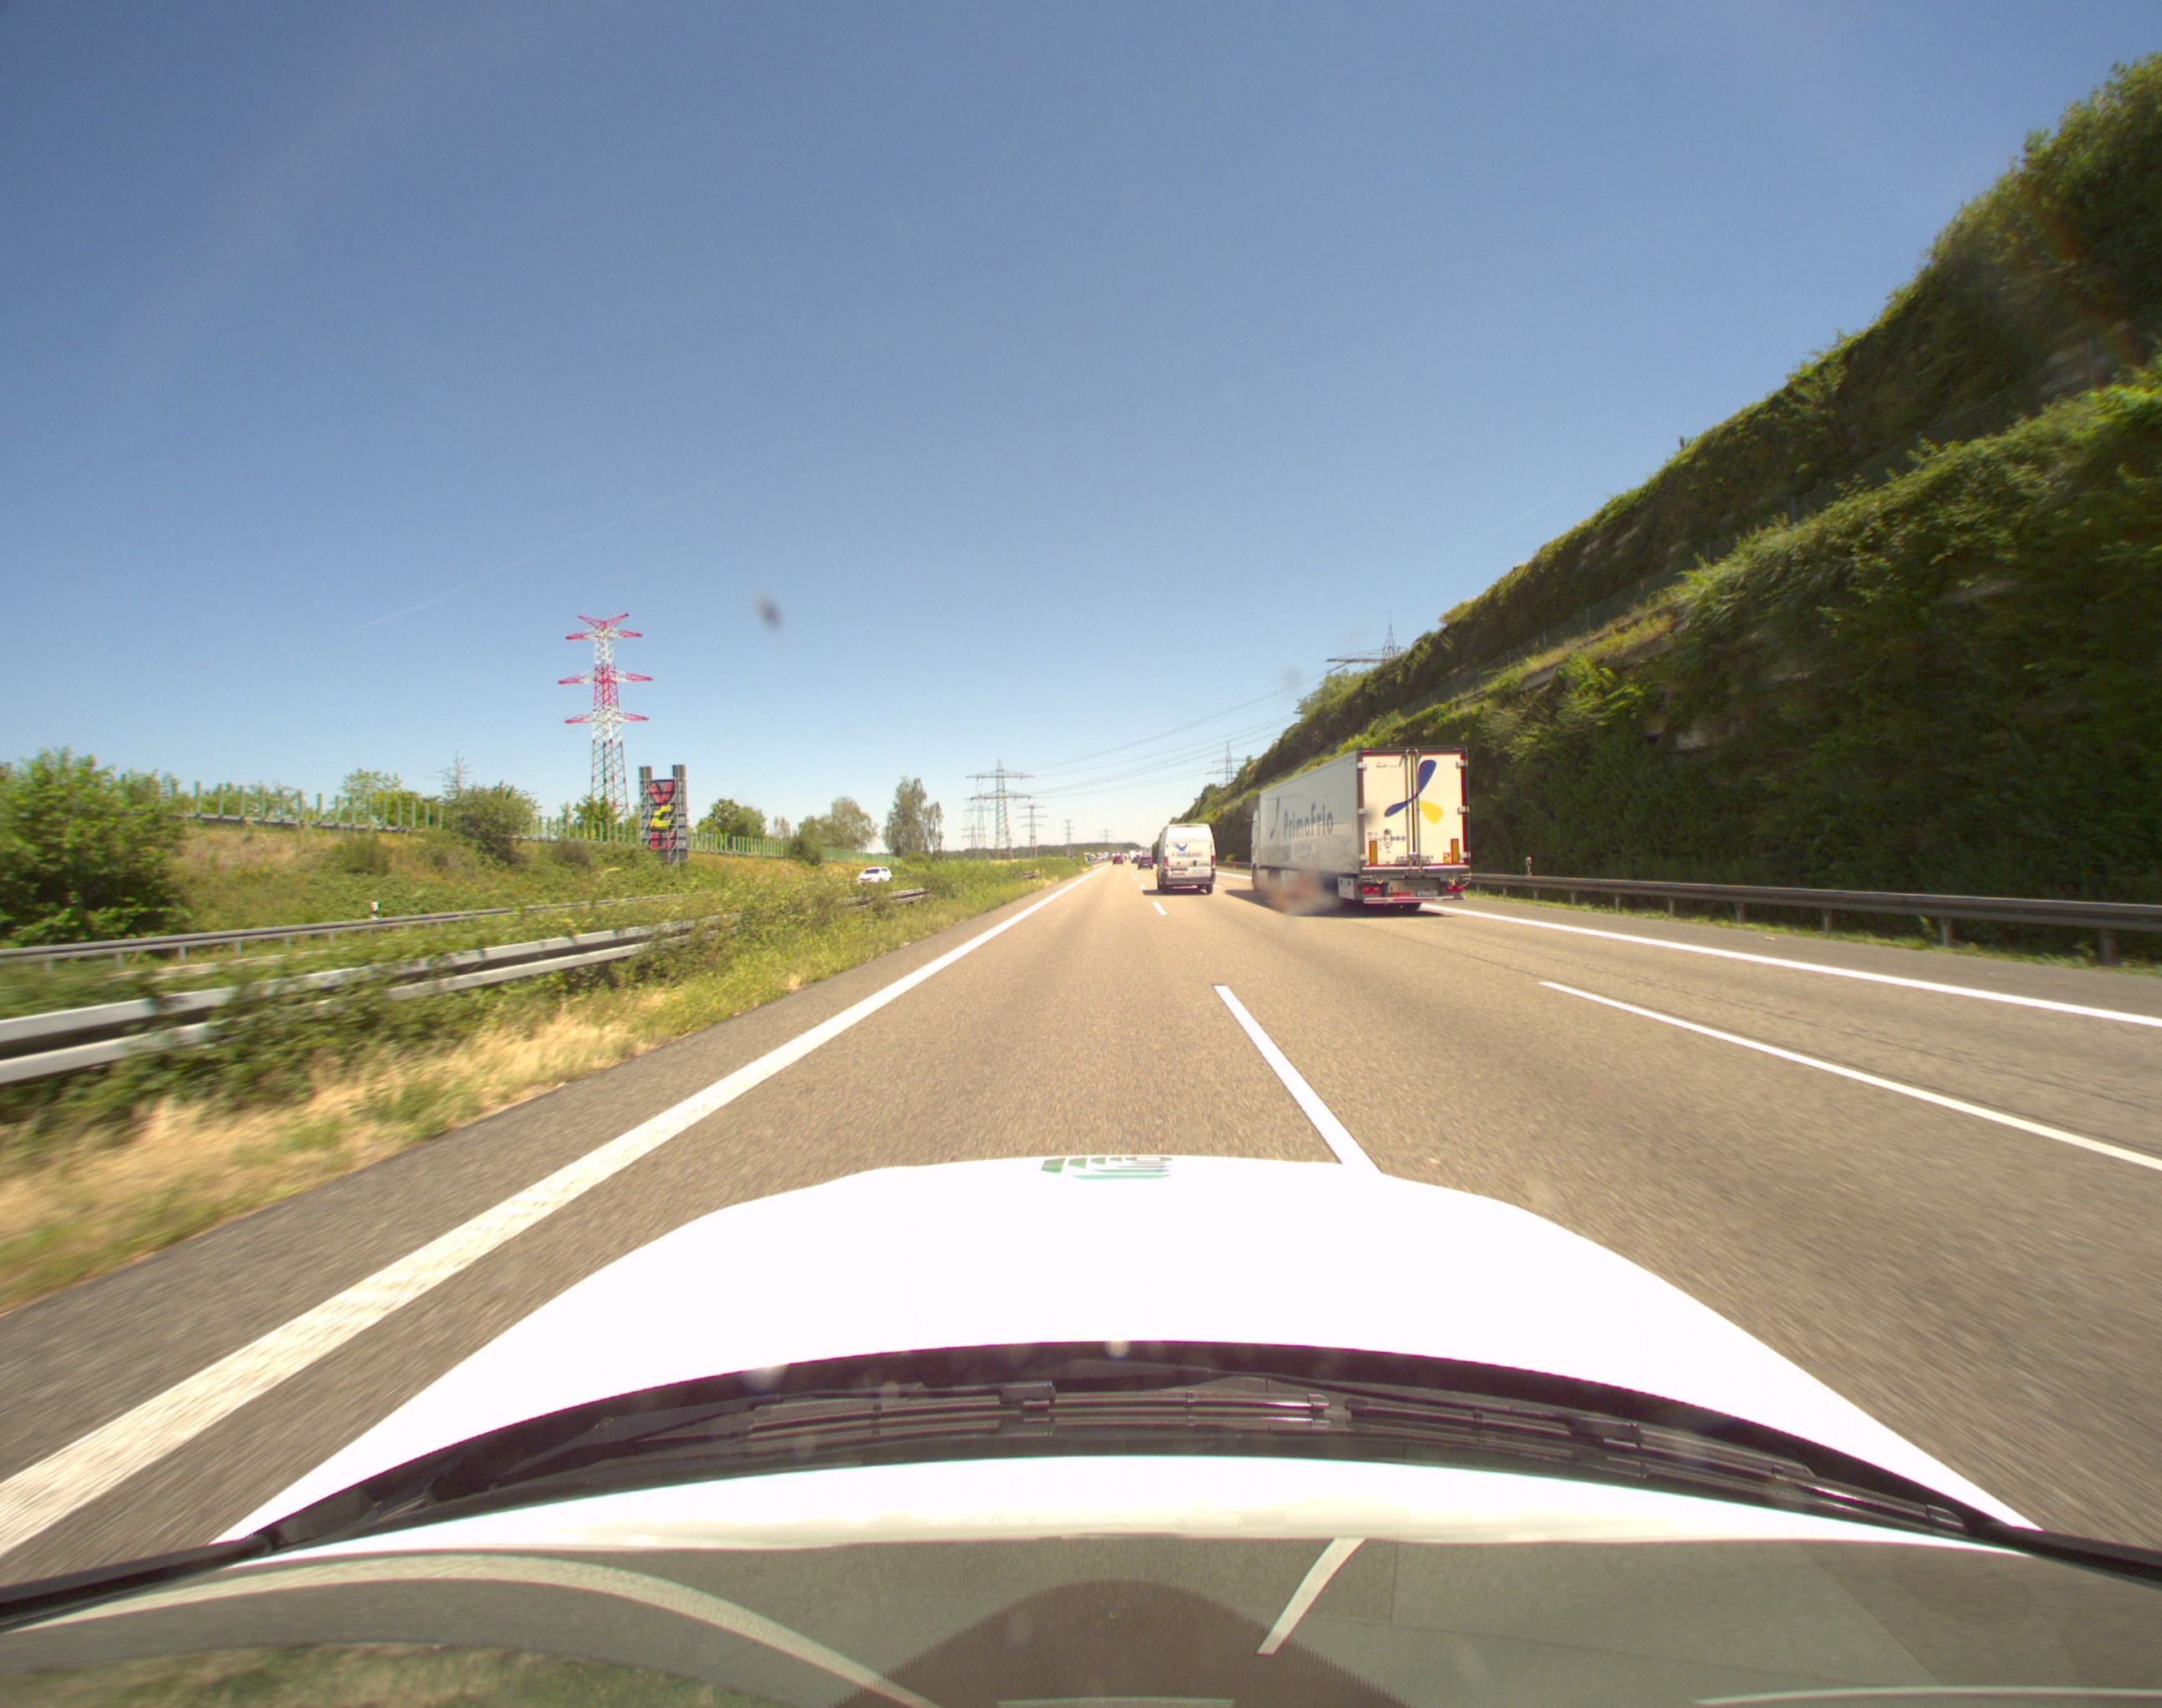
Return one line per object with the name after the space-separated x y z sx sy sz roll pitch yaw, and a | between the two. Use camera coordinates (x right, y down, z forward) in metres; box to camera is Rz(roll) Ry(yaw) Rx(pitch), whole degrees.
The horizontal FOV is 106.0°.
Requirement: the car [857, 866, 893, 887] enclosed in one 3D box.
-17.194 1.853 68.103 1.757 1.596 4.153 -3 0 2 | car

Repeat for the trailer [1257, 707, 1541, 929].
7.929 -0.678 24.148 2.504 4.212 17.039 -1 0 3 | trailer

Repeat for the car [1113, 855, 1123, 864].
7.300 1.025 159.327 1.822 1.670 4.004 -3 0 3 | car

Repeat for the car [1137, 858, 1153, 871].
7.717 1.236 98.604 1.742 1.525 3.998 -2 0 3 | car

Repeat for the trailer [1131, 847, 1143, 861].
13.622 0.116 199.663 2.600 3.213 9.961 -3 0 3 | trailer

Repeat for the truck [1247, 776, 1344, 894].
8.313 -0.649 32.223 2.497 4.220 6.261 0 0 3 | truck

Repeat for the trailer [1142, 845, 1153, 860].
20.466 -0.460 250.417 3.169 4.121 13.445 -3 0 4 | trailer

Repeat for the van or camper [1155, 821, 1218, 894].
4.342 0.151 34.584 2.088 2.769 6.761 -1 0 3 | van or camper

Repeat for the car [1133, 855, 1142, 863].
12.225 1.066 176.264 1.821 1.525 4.005 -3 0 4 | car
